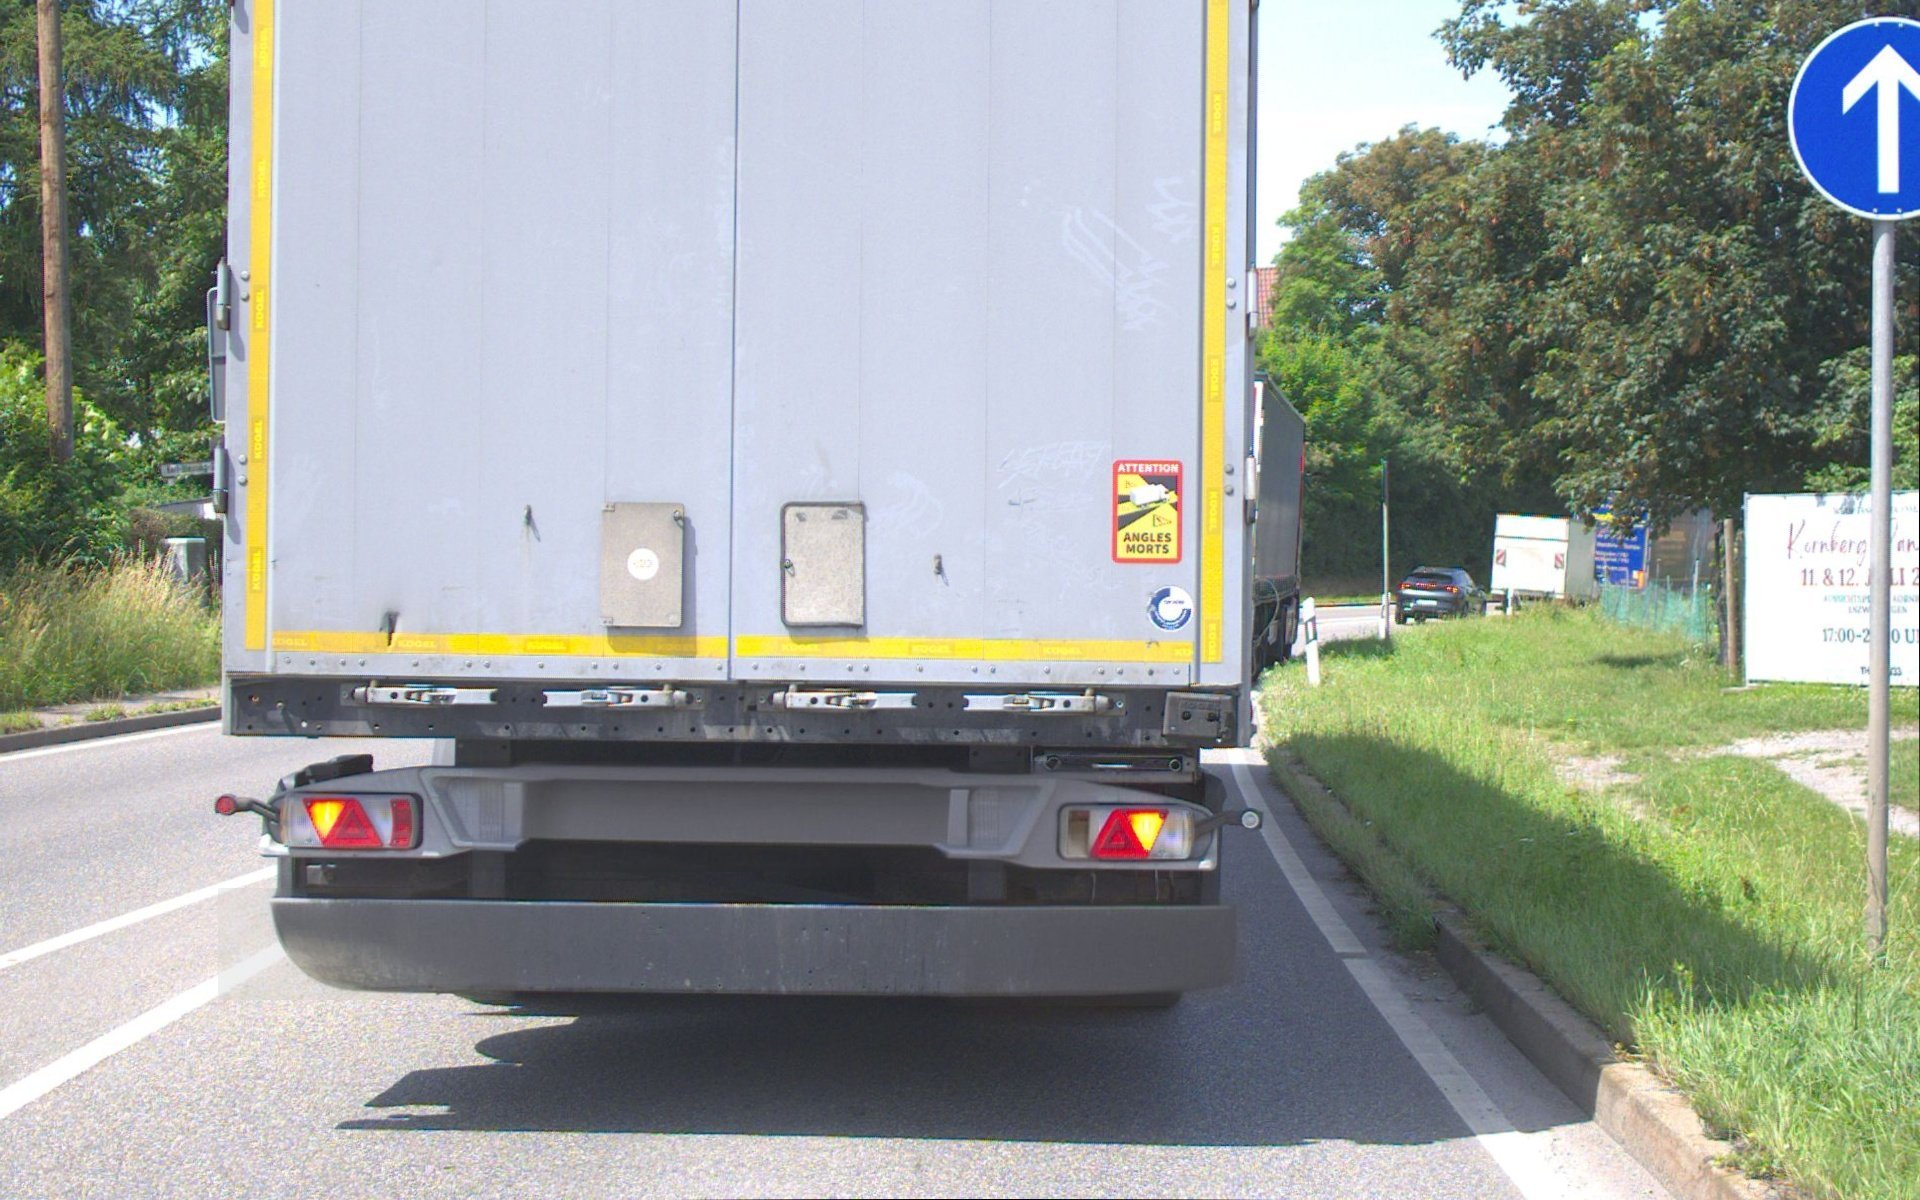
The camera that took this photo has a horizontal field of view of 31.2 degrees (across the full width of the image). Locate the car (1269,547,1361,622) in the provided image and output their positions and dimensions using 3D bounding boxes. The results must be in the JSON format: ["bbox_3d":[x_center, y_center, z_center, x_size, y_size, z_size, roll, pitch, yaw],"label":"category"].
[{"bbox_3d":[9.097,-0.419,87.860,1.994,1.831,3.998,1,2,11],"label":"car"}]

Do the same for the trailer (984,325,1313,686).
[{"bbox_3d":[2.998,-1.358,49.358,3.892,4.505,12.711,0,2,7],"label":"trailer"}]

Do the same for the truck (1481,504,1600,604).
[{"bbox_3d":[17.085,-1.388,100.972,2.423,2.828,5.407,1,2,21],"label":"truck"}]

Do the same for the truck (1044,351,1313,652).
[{"bbox_3d":[3.679,-1.550,55.815,3.938,4.559,7.150,0,1,7],"label":"truck"}]

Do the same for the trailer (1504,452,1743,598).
[{"bbox_3d":[22.771,-2.586,116.804,5.185,4.612,15.879,1,2,21],"label":"trailer"}]

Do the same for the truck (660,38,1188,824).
[{"bbox_3d":[-0.001,-0.980,21.328,2.746,4.151,6.142,1,1,4],"label":"truck"}]

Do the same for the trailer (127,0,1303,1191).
[{"bbox_3d":[-0.388,-0.863,14.210,2.787,4.191,12.111,1,1,2],"label":"trailer"}]

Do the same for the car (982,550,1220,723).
[{"bbox_3d":[1.428,0.301,33.295,1.994,1.525,3.999,0,1,7],"label":"car"}]

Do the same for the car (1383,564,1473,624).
[{"bbox_3d":[12.232,-0.172,89.753,1.842,1.481,3.997,1,1,15],"label":"car"}]
